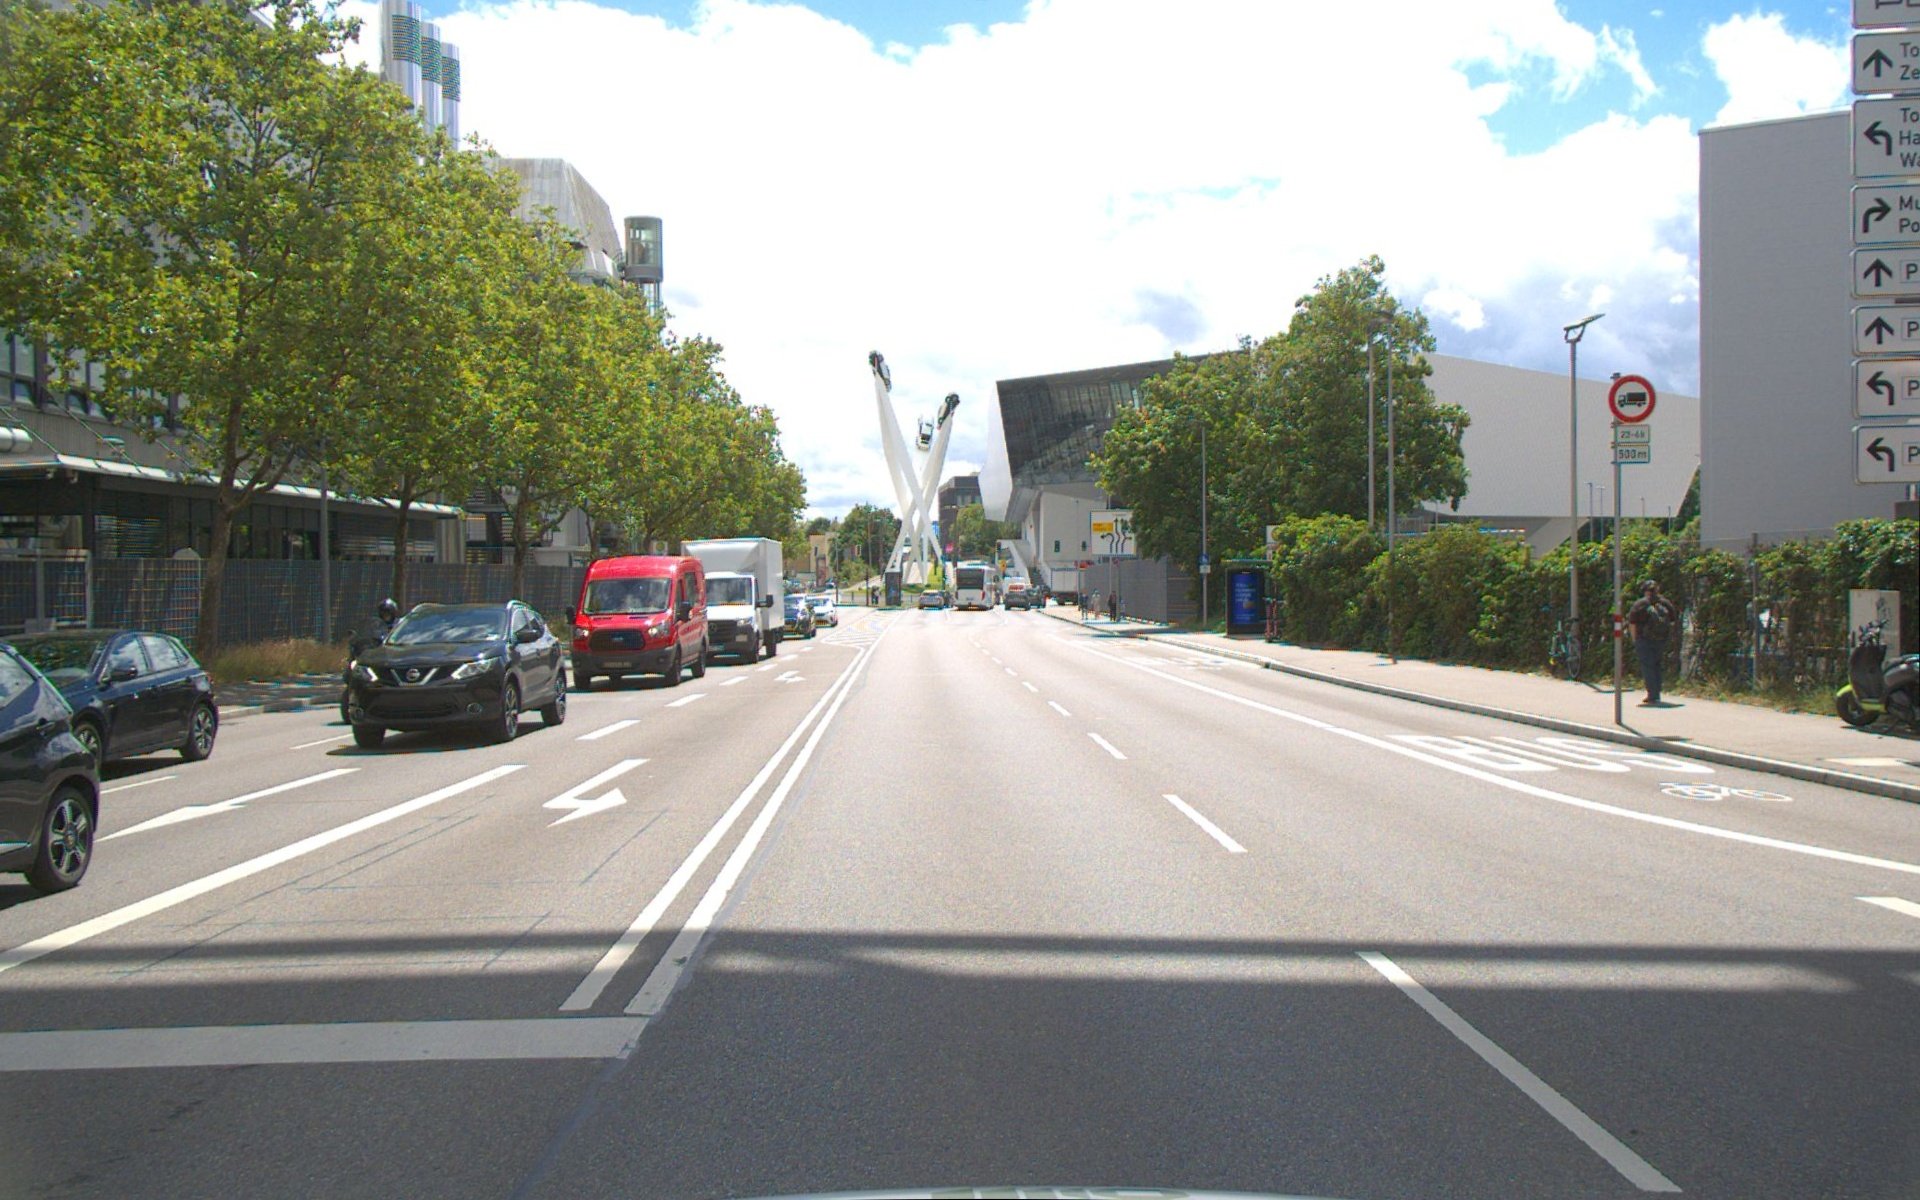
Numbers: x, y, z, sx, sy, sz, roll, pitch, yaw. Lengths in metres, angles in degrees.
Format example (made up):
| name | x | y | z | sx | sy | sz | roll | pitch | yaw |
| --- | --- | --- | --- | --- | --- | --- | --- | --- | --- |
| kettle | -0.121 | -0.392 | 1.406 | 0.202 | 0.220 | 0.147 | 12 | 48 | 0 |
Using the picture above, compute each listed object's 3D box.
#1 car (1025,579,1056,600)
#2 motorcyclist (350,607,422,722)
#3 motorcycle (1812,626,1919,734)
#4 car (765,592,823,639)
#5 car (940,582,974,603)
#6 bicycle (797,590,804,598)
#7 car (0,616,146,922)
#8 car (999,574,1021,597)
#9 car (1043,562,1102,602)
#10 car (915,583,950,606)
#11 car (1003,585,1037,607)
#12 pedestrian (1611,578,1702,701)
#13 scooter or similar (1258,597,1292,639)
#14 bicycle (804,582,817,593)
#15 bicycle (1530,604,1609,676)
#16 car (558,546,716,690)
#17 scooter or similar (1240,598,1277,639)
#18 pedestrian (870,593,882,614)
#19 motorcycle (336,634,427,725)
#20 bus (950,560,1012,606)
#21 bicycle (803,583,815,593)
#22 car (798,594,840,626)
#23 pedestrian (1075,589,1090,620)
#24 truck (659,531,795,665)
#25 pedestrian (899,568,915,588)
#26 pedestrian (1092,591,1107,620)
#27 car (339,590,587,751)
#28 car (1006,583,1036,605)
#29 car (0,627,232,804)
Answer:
| name | x | y | z | sx | sy | sz | roll | pitch | yaw |
| --- | --- | --- | --- | --- | --- | --- | --- | --- | --- |
| car | 6.724 | -0.872 | 137.835 | 1.951 | 1.665 | 4.003 | 1 | 0 | 12 |
| motorcyclist | -8.506 | 0.936 | 24.534 | 0.718 | 1.651 | 1.094 | 1 | -1 | -4 |
| motorcycle | 10.299 | 0.853 | 18.357 | 0.579 | 1.086 | 2.037 | -2 | 0 | -1 |
| car | -6.181 | 0.552 | 61.932 | 1.704 | 1.608 | 4.266 | -3 | 0 | 0 |
| car | -0.257 | -0.572 | 135.718 | 1.951 | 1.665 | 4.003 | 1 | 0 | 12 |
| bicycle | -20.584 | -0.789 | 213.980 | 0.480 | 0.881 | 1.613 | -1 | 3 | 10 |
| car | -5.622 | 0.890 | 8.030 | 1.526 | 1.531 | 3.612 | -2 | 0 | 0 |
| car | 5.013 | -1.435 | 164.684 | 1.951 | 2.209 | 4.658 | 1 | 0 | 4 |
| car | 10.442 | -1.625 | 153.070 | 3.265 | 3.565 | 9.345 | 1 | 0 | 18 |
| car | -2.086 | -0.424 | 126.499 | 1.951 | 1.665 | 4.003 | 1 | 0 | 10 |
| car | 4.737 | -0.313 | 130.221 | 1.951 | 1.665 | 4.004 | 1 | 1 | 12 |
| pedestrian | 9.859 | 0.549 | 23.443 | 0.793 | 1.673 | 0.997 | -2 | 0 | -3 |
| scooter or similar | 9.375 | 0.535 | 49.169 | 0.531 | 1.183 | 1.790 | -1 | 0 | 26 |
| bicycle | -19.716 | -1.592 | 218.168 | 1.573 | 1.407 | 0.492 | 1 | -1 | -2 |
| bicycle | 10.650 | 0.676 | 28.975 | 0.434 | 1.200 | 2.468 | 1 | 0 | -1 |
| car | -6.287 | 0.313 | 32.868 | 2.021 | 2.551 | 5.479 | -2 | 0 | 0 |
| scooter or similar | 9.088 | 0.544 | 50.248 | 0.531 | 1.183 | 2.126 | -1 | 0 | 26 |
| pedestrian | -7.385 | 0.281 | 145.418 | 0.848 | 1.805 | 1.031 | 1 | -1 | -14 |
| motorcycle | -8.496 | 1.141 | 24.393 | 0.661 | 1.241 | 2.374 | 1 | 0 | -5 |
| bus | 1.774 | -1.252 | 130.339 | 3.006 | 3.421 | 12.233 | 1 | 0 | 9 |
| bicycle | -19.781 | -1.543 | 216.794 | 1.573 | 1.339 | 0.492 | 1 | -1 | -2 |
| car | -6.761 | 0.465 | 79.463 | 1.657 | 1.439 | 4.145 | -2 | 0 | -1 |
| pedestrian | 6.950 | 0.232 | 94.021 | 0.778 | 1.751 | 0.731 | 1 | -1 | -1 |
| truck | -5.993 | -0.025 | 43.654 | 2.402 | 3.183 | 7.243 | -1 | 0 | 1 |
| pedestrian | -5.338 | -2.234 | 166.567 | 1.266 | 1.847 | 0.979 | -5 | 4 | -26 |
| pedestrian | 7.929 | 0.315 | 93.991 | 0.778 | 1.625 | 0.731 | 1 | -1 | -1 |
| car | -5.908 | 0.782 | 20.182 | 1.700 | 1.713 | 4.213 | -2 | 0 | 0 |
| car | 5.511 | -0.540 | 149.346 | 1.951 | 1.966 | 4.244 | 1 | 0 | 12 |
| car | -8.791 | 1.059 | 16.274 | 1.545 | 1.453 | 3.919 | -2 | 0 | -1 |
